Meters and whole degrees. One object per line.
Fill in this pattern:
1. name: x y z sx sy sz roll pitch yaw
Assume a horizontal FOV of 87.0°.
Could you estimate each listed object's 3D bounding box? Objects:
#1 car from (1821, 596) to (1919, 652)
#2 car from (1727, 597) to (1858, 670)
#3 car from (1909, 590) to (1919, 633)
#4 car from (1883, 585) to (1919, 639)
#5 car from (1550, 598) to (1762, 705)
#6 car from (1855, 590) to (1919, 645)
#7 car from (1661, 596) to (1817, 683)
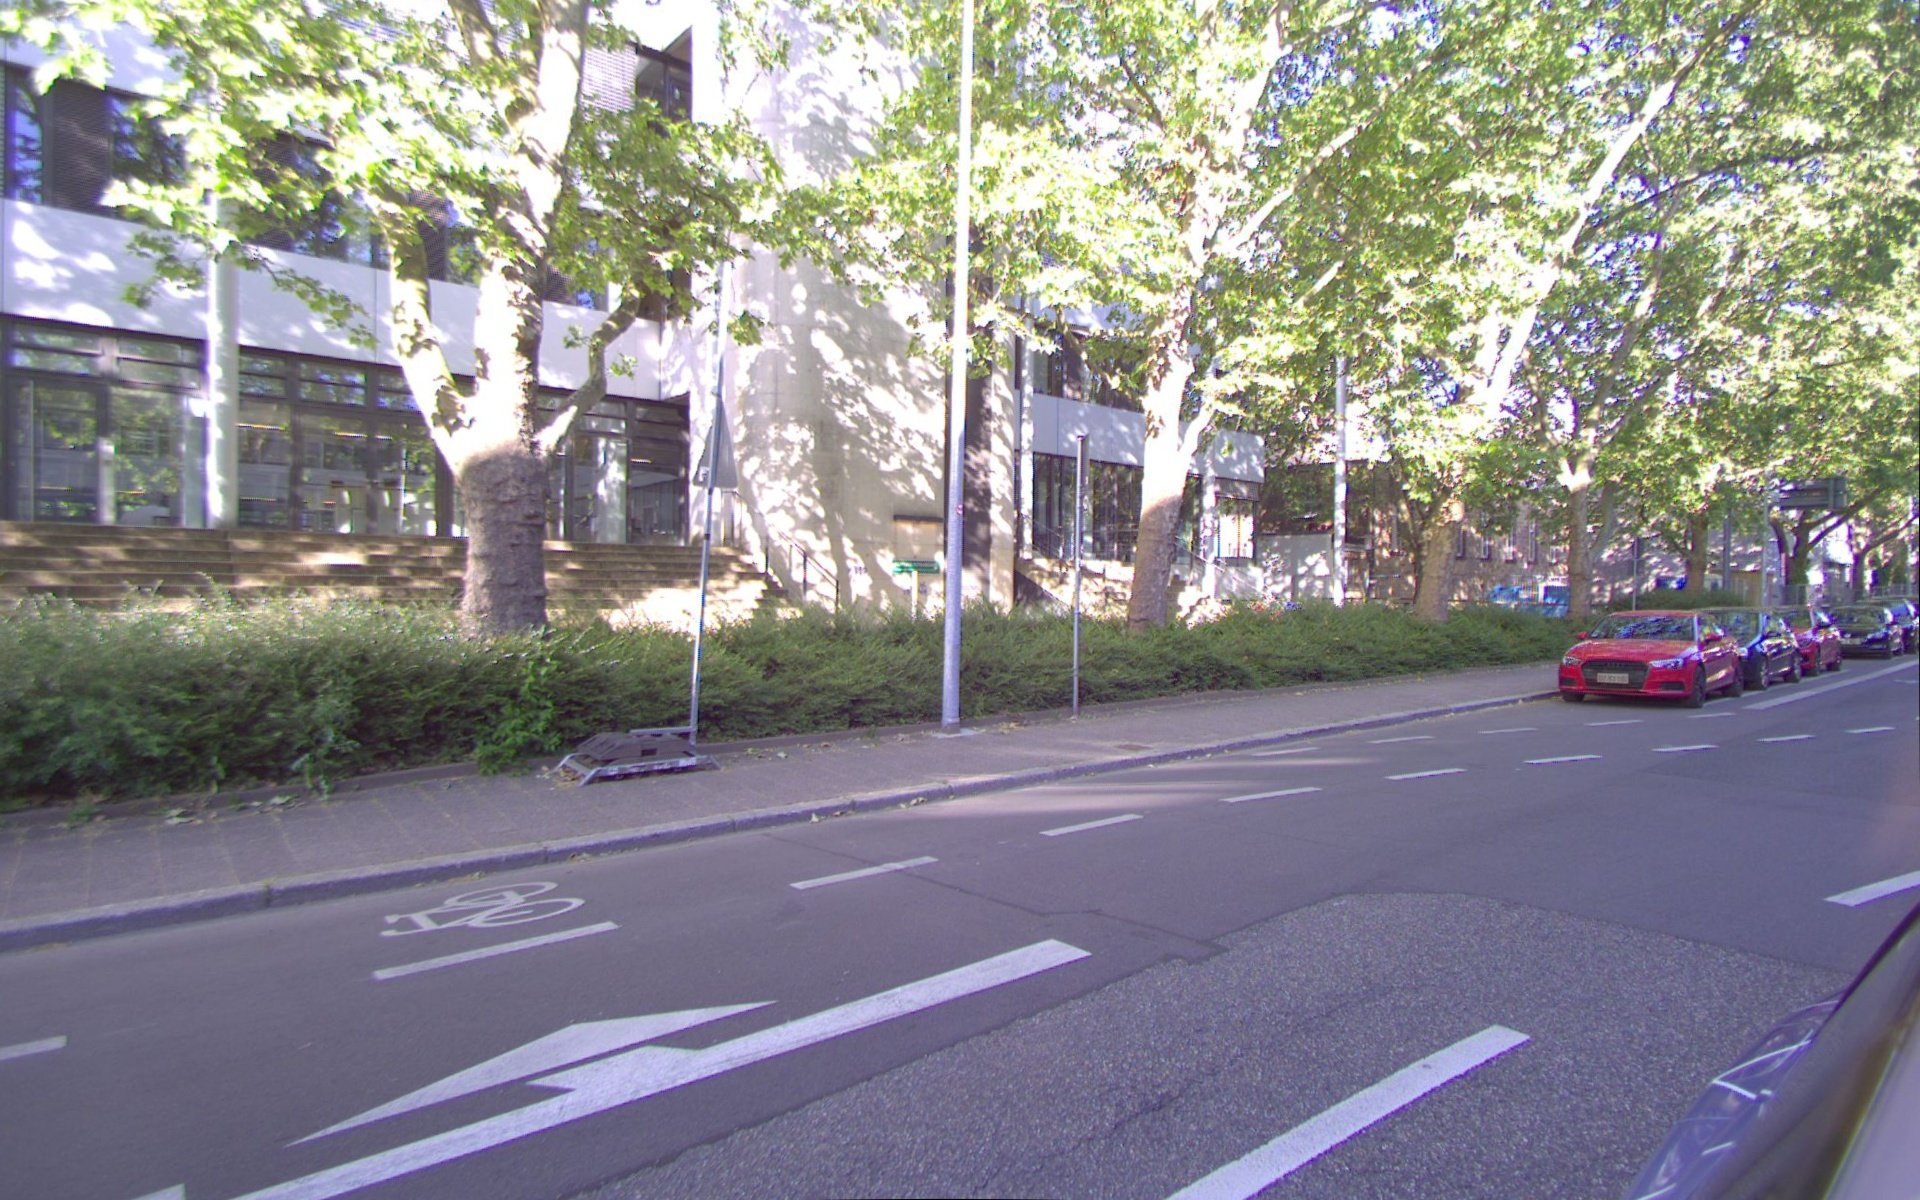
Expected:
1. car: 25.679 0.633 28.511 3.675 1.483 1.634 0 -1 -41
2. car: 18.505 0.678 22.445 3.675 1.483 1.634 0 -1 -41
3. car: 38.595 0.434 39.681 3.778 1.675 1.634 0 -1 -41
4. car: 33.667 0.391 35.369 3.778 1.828 1.634 0 -1 -41
5. car: 11.078 0.717 16.009 4.053 1.483 1.802 0 -1 -41
6. car: 29.348 0.511 31.578 3.778 1.607 1.634 0 -1 -41
7. car: 14.719 0.682 19.064 3.675 1.483 1.634 0 -1 -41
